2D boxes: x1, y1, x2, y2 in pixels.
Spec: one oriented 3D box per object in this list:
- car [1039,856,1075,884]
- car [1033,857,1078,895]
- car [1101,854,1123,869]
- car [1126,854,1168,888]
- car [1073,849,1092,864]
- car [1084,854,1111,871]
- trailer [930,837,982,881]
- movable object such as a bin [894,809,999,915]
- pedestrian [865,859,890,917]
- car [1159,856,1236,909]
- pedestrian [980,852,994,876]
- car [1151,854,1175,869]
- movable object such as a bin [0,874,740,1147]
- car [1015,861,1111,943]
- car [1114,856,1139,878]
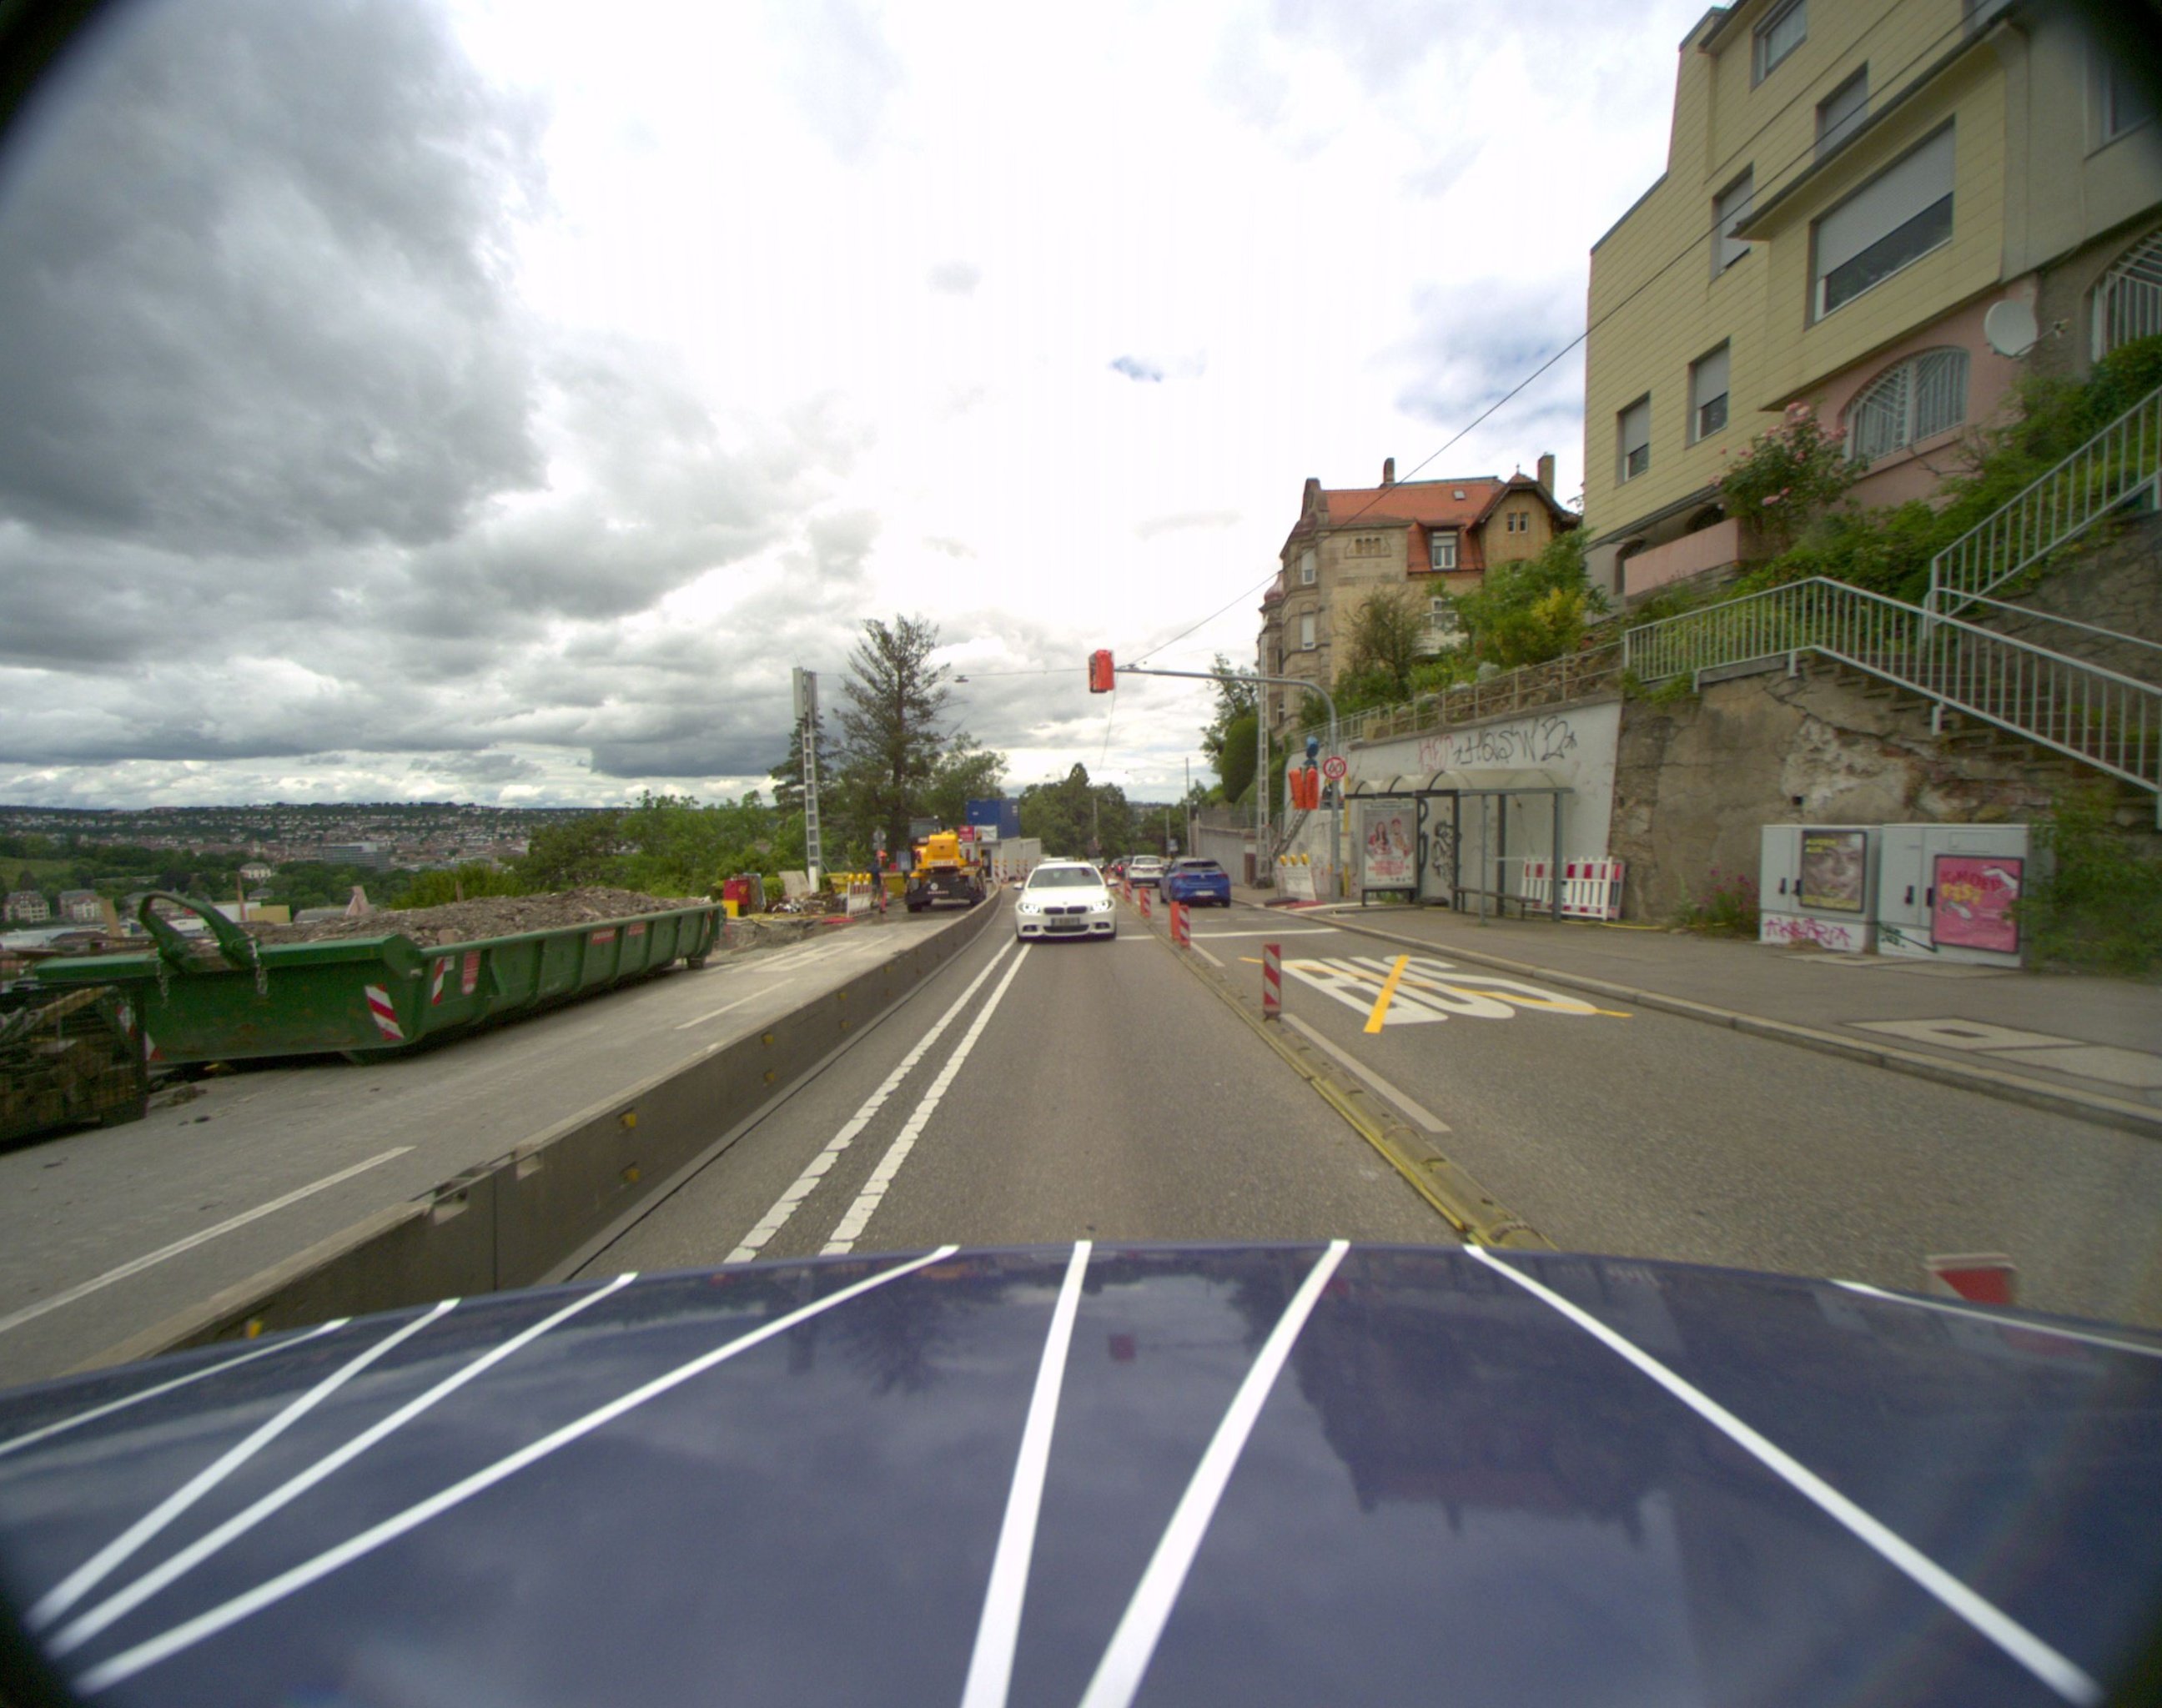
[{"bbox_3d":[-1.366,0.922,44.413,1.792,1.542,4.245,-1,0,2],"label":"car"},{"bbox_3d":[-1.074,0.890,32.894,1.792,1.472,4.244,-1,0,-1],"label":"car"},{"bbox_3d":[3.394,0.763,81.851,1.797,1.501,4.003,1,1,11],"label":"car"},{"bbox_3d":[3.344,0.816,39.237,1.846,1.590,4.263,-2,0,1],"label":"car"},{"bbox_3d":[0.201,0.228,82.199,1.798,1.501,4.001,1,1,4],"label":"car"},{"bbox_3d":[1.592,0.829,72.373,1.797,1.501,4.004,1,1,14],"label":"car"},{"bbox_3d":[-7.653,0.269,46.953,2.111,2.535,5.119,1,0,3],"label":"trailer"},{"bbox_3d":[-4.441,0.241,26.599,2.820,3.053,7.819,-2,0,-5],"label":"movable object such as a bin"},{"bbox_3d":[-6.369,1.052,23.851,0.691,1.784,0.539,-2,0,-13],"label":"pedestrian"},{"bbox_3d":[3.447,0.799,23.134,1.730,1.412,3.820,-1,1,0],"label":"car"},{"bbox_3d":[-6.599,0.707,53.176,0.651,1.651,0.648,-3,1,-35],"label":"pedestrian"},{"bbox_3d":[7.721,0.670,71.214,1.802,1.365,4.392,1,1,11],"label":"car"},{"bbox_3d":[-6.587,1.155,8.706,2.380,1.552,7.097,-2,0,-3],"label":"movable object such as a bin"},{"bbox_3d":[-0.251,0.936,16.515,1.792,1.472,4.245,-1,0,2],"label":"car"},{"bbox_3d":[3.242,0.897,53.774,1.675,1.422,3.589,0,0,5],"label":"car"}]
